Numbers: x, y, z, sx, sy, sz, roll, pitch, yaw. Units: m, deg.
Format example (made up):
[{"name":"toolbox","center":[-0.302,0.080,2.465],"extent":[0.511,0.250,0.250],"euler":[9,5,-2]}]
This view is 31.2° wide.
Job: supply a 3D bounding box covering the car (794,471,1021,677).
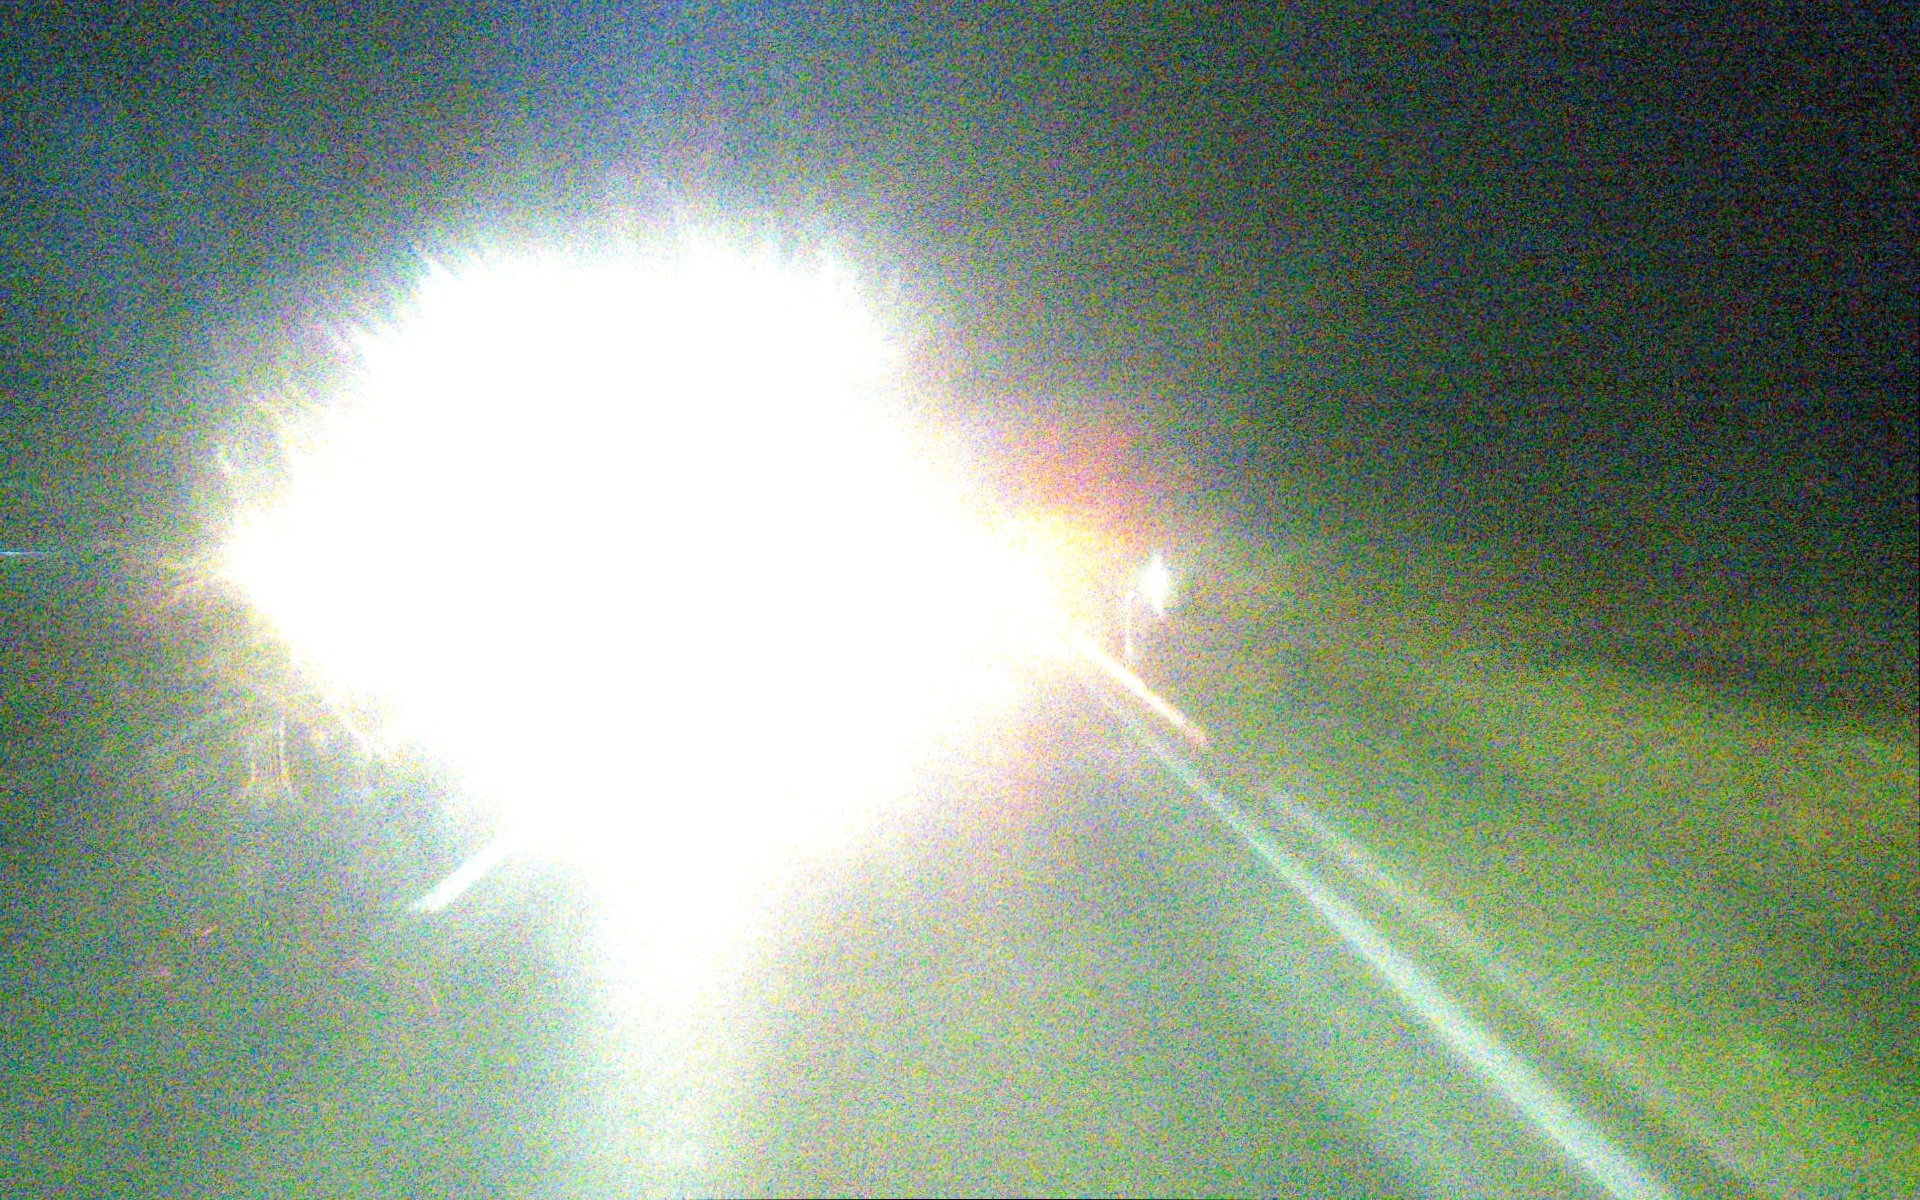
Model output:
[{"name":"car","center":[-0.456,-0.299,32.321],"extent":[1.993,1.800,3.918],"euler":[0,2,0]}]
